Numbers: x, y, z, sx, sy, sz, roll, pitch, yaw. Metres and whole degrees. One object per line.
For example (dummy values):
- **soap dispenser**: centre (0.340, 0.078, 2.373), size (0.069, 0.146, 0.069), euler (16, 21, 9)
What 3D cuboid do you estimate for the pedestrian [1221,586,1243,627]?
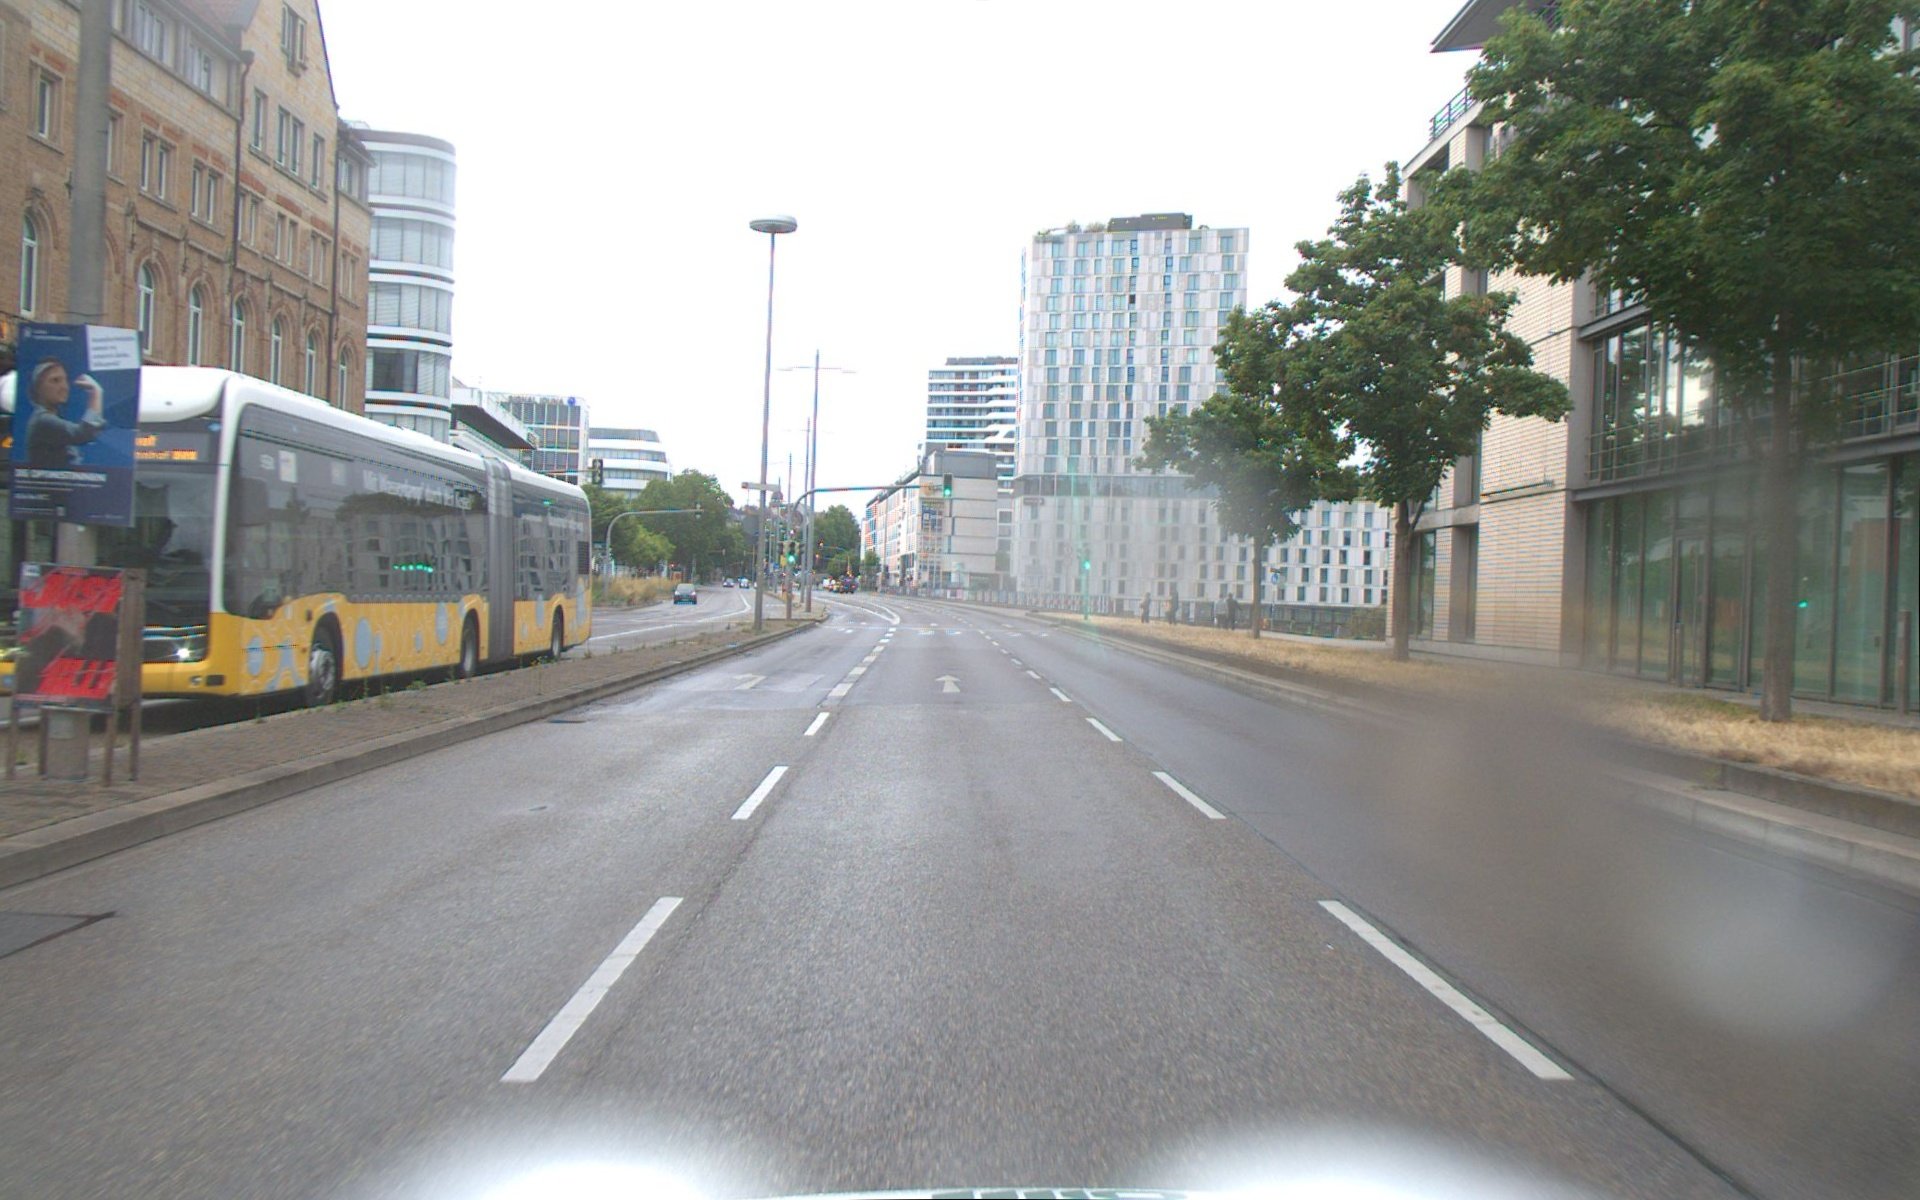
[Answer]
- **pedestrian**: centre (10.890, 0.257, 66.206), size (0.657, 1.605, 0.666), euler (2, 2, 36)

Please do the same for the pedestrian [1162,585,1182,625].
- **pedestrian**: centre (8.608, 0.208, 67.083), size (0.540, 1.605, 0.669), euler (1, 2, 33)

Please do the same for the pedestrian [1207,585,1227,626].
- **pedestrian**: centre (10.217, 0.199, 65.775), size (0.540, 1.605, 0.669), euler (1, 2, 33)

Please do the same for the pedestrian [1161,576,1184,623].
- **pedestrian**: centre (8.639, -0.025, 67.138), size (0.542, 1.873, 0.777), euler (2, 2, 45)

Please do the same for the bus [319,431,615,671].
- **bus**: centre (-8.509, -0.822, 30.085), size (2.644, 3.621, 10.091), euler (0, 1, -2)

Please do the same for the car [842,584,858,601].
- **car**: centre (-15.959, -1.077, 240.179), size (1.954, 2.383, 3.998), euler (-5, 1, -2)

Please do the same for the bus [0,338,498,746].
- **bus**: centre (-8.135, -0.555, 19.794), size (2.644, 3.621, 10.090), euler (0, 0, -2)
